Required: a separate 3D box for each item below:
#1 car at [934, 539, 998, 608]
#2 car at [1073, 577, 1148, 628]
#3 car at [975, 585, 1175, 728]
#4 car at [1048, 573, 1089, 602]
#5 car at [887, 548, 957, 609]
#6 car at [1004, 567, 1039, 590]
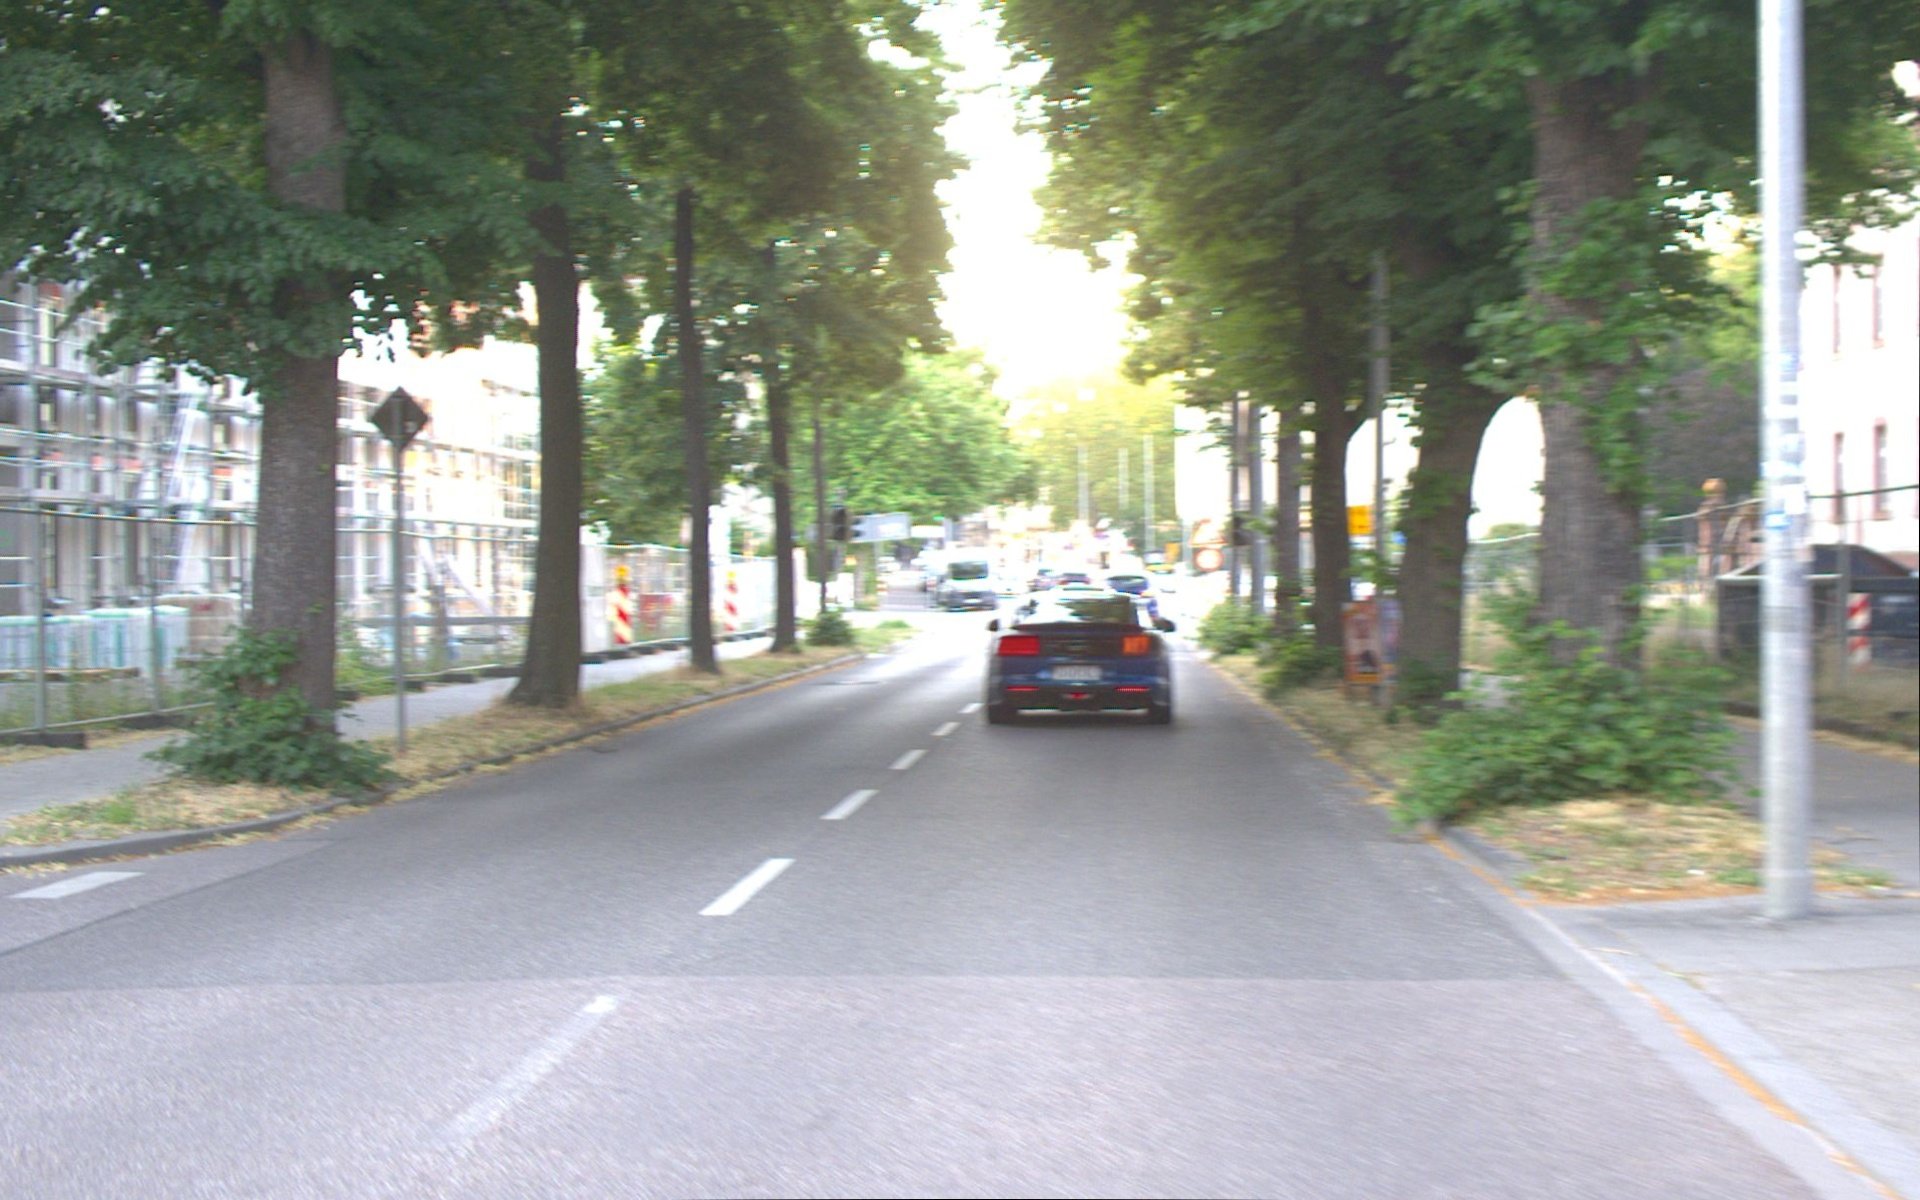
[{"bbox_3d":[0.227,-1.046,137.998,2.492,2.688,5.830,-1,0,0],"label":"car"},{"bbox_3d":[4.200,0.059,95.451,1.947,1.322,4.000,1,1,4],"label":"car"},{"bbox_3d":[1.212,0.553,35.995,1.947,1.322,4.000,1,1,2],"label":"car"},{"bbox_3d":[5.353,-0.612,169.239,1.947,1.322,4.000,1,1,2],"label":"car"},{"bbox_3d":[-1.414,-0.814,126.431,2.336,2.190,5.309,-1,1,-3],"label":"car"},{"bbox_3d":[3.648,-1.277,202.357,1.947,1.322,4.000,1,1,2],"label":"car"}]
